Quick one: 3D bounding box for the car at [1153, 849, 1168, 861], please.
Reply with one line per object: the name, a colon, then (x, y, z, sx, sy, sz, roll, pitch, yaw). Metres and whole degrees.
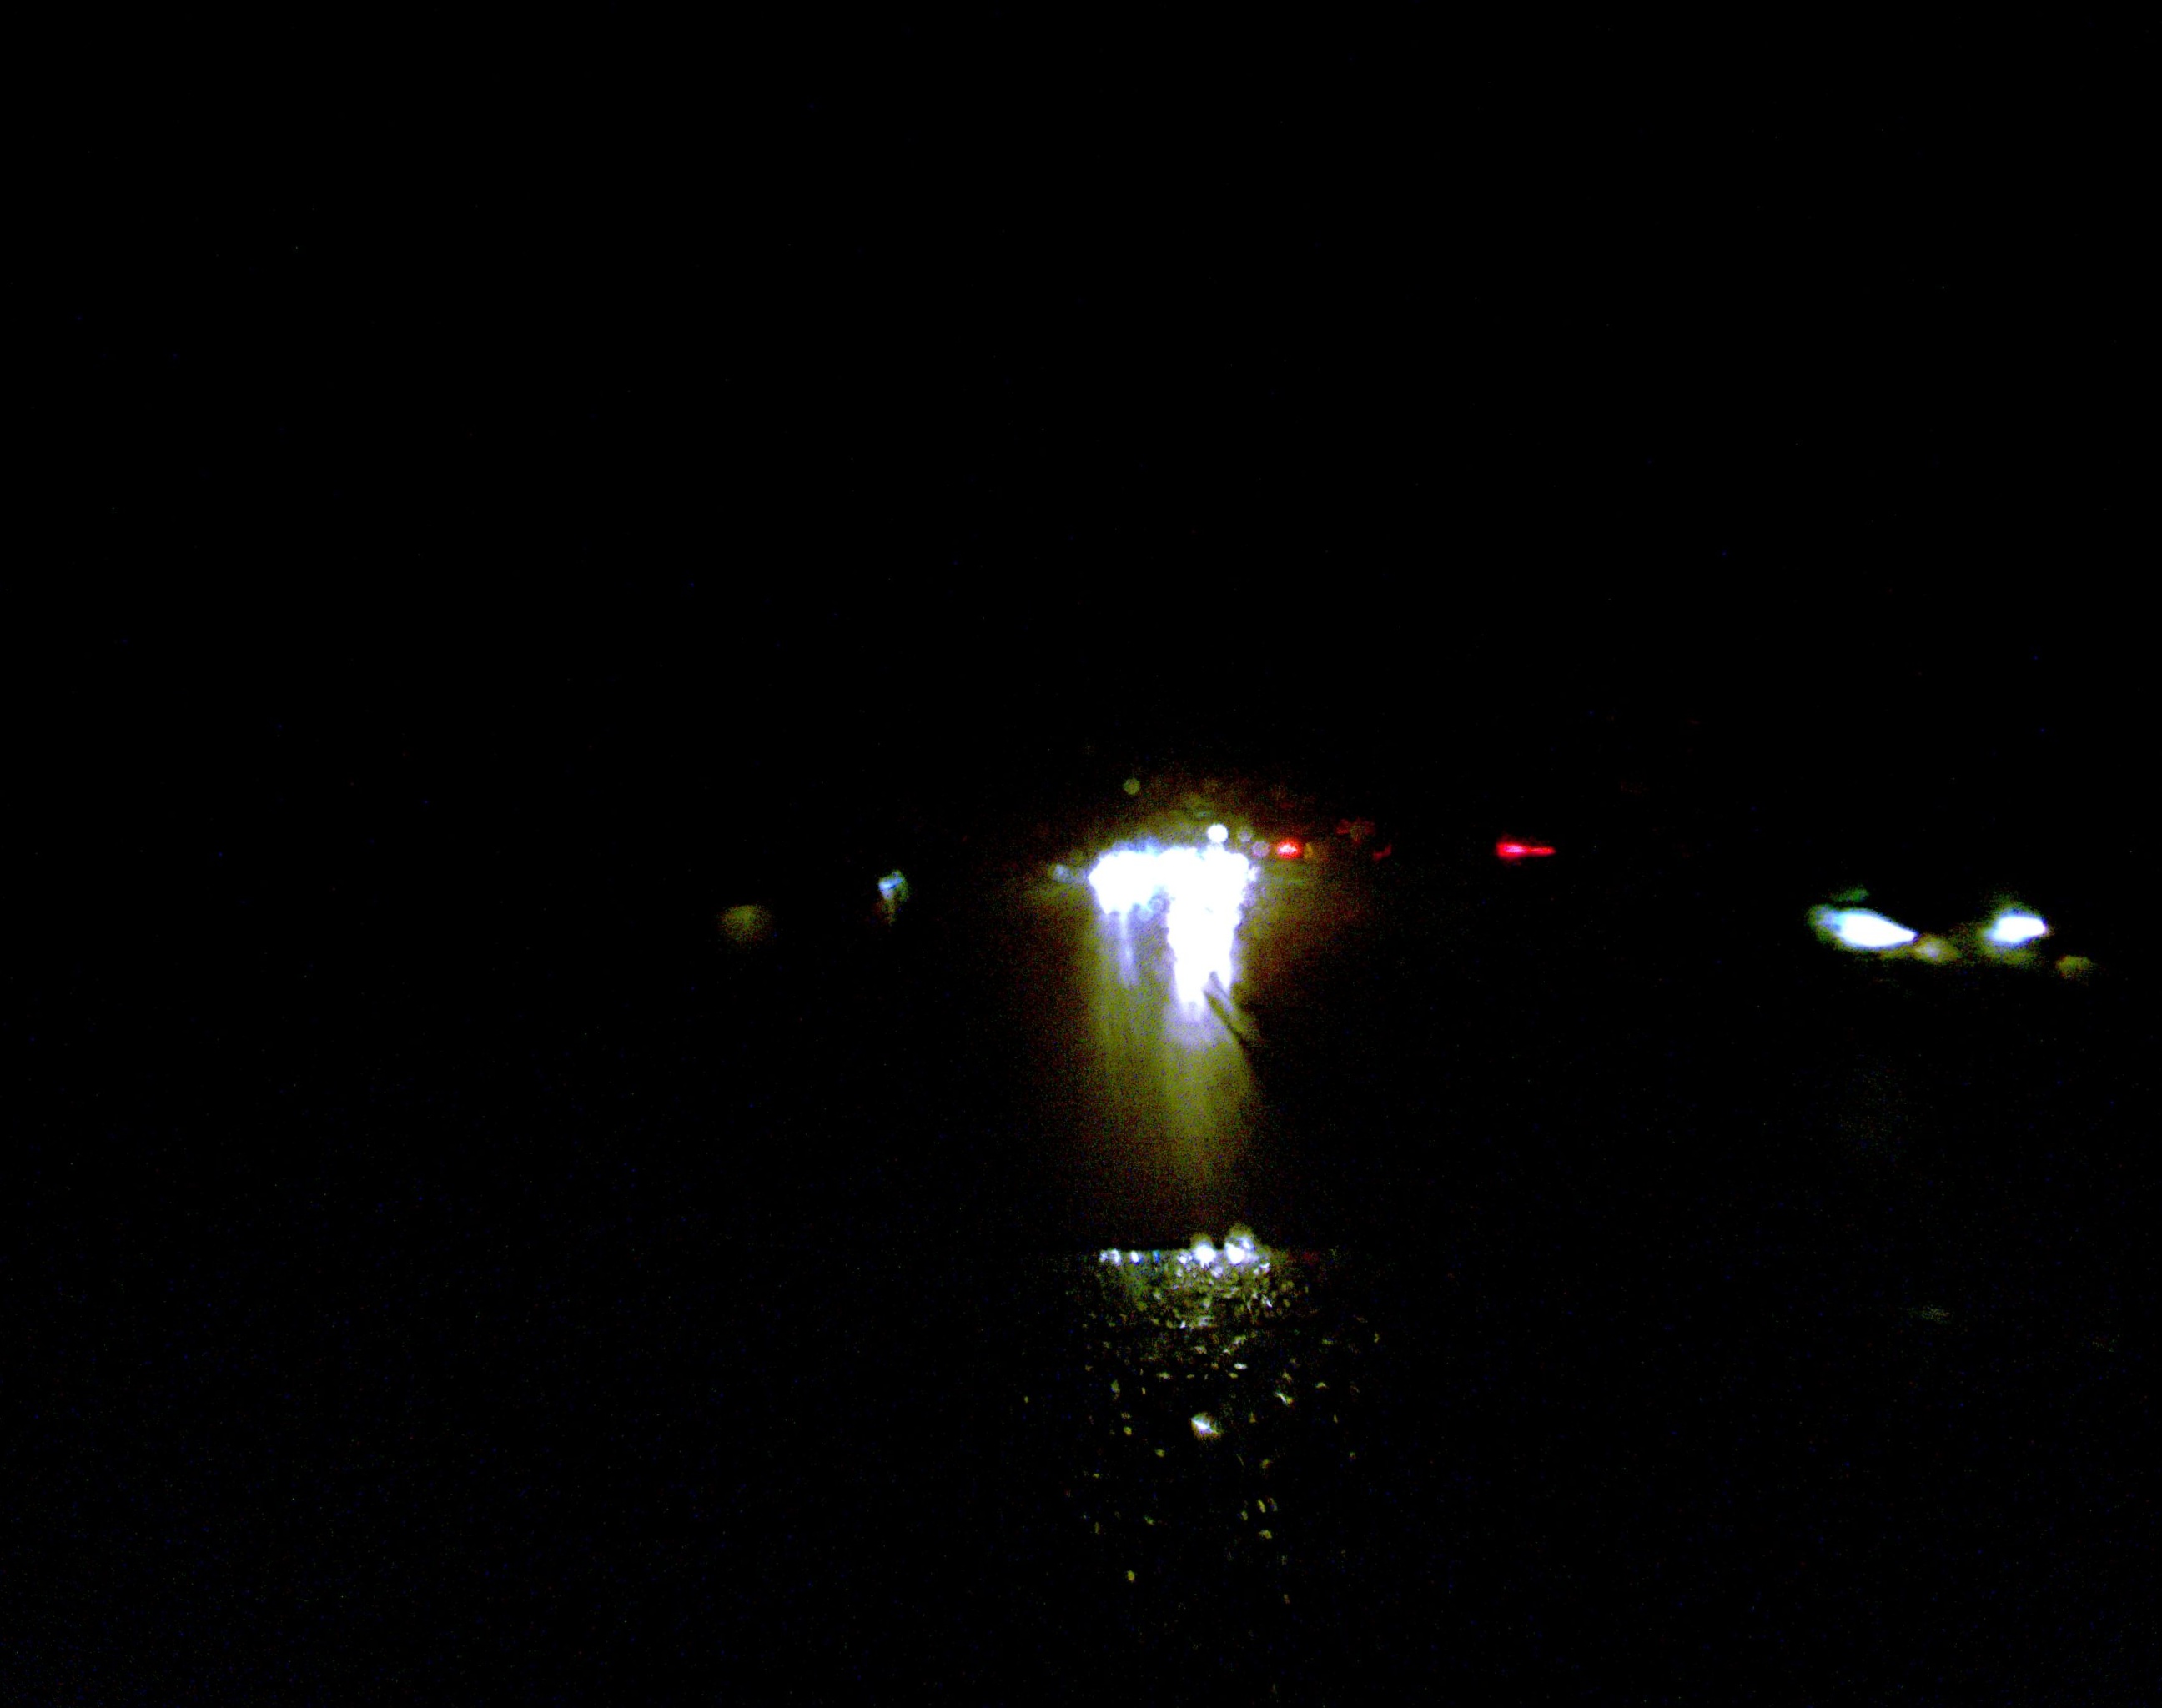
car: (13.993, 0.142, 134.113, 1.999, 2.002, 3.999, -5, 0, -1)

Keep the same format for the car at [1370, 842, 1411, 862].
car: (28.938, -0.230, 71.222, 1.836, 1.703, 3.997, -3, 1, -6)

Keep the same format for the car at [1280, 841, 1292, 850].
car: (44.266, -1.853, 164.213, 1.997, 1.718, 4.002, -3, 1, 10)

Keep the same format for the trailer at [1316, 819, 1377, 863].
trailer: (23.462, -1.185, 67.638, 2.614, 3.453, 10.449, -3, 1, 6)

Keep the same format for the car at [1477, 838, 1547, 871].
car: (20.217, -0.015, 35.807, 1.607, 1.335, 3.243, -4, 1, 5)

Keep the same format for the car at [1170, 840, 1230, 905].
car: (4.170, 0.621, 27.278, 1.753, 2.093, 4.464, -2, 0, 5)

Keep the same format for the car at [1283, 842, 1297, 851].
car: (39.116, -1.400, 142.332, 1.901, 1.634, 4.198, -3, 1, 6)

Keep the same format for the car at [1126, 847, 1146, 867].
car: (6.076, 0.287, 83.384, 1.998, 2.002, 4.001, -5, 0, 5)

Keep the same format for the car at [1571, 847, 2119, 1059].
car: (7.058, 0.757, 7.702, 1.654, 1.566, 3.849, -2, 0, 0)

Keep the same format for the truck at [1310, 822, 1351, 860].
truck: (24.027, -1.296, 73.385, 2.610, 3.438, 4.642, -3, 1, 6)

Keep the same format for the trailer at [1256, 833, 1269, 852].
trailer: (43.275, -2.799, 181.541, 2.579, 4.431, 12.501, -3, 1, 12)

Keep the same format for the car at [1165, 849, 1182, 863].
car: (14.539, 0.242, 120.119, 1.999, 2.002, 3.999, -5, 0, -1)

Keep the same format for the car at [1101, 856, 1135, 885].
car: (2.421, 1.004, 48.706, 1.891, 1.603, 4.001, -3, 1, 6)
